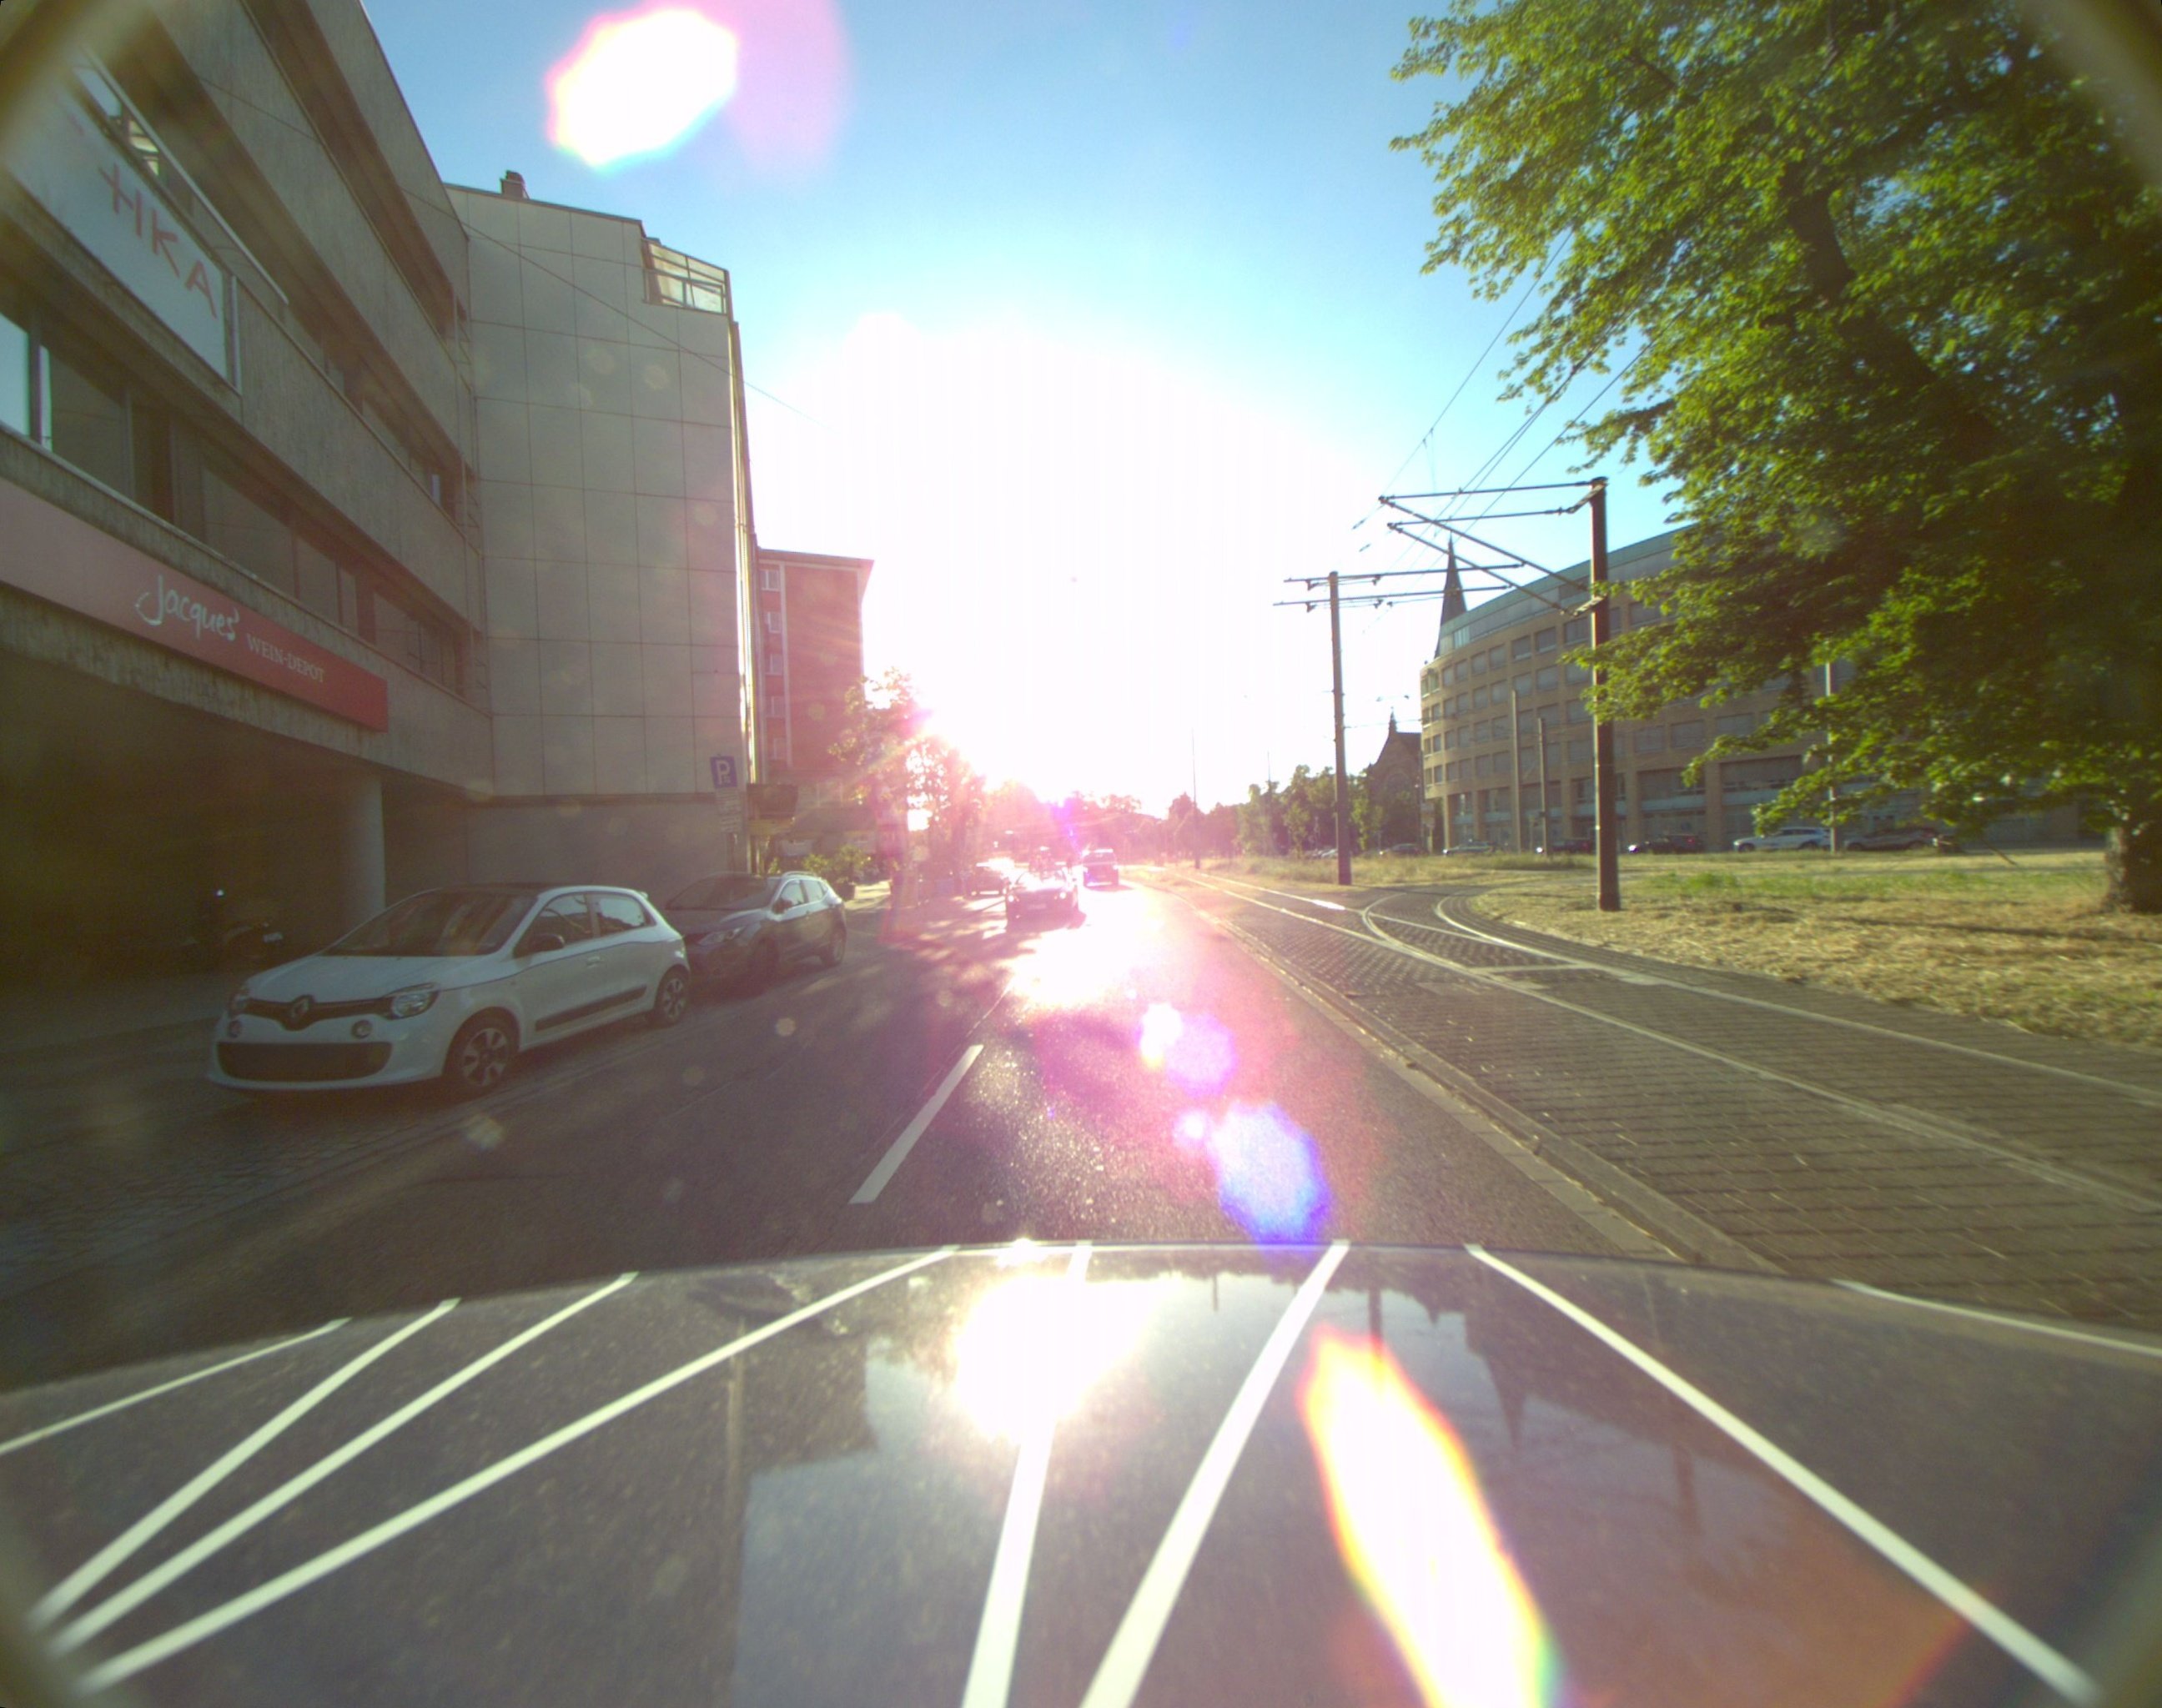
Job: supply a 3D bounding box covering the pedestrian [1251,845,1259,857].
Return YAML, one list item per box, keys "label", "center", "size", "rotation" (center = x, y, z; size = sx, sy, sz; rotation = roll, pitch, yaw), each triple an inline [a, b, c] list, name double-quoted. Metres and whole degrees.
- label: "pedestrian"
  center: [25.582, -0.474, 111.813]
  size: [0.738, 1.663, 0.716]
  rotation: [-3, 0, -19]

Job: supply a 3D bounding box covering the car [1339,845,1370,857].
- label: "car"
  center: [40.175, -0.463, 111.694]
  size: [4.004, 1.575, 1.822]
  rotation: [-2, 0, -22]

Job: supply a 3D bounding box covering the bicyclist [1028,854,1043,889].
- label: "bicyclist"
  center: [-2.400, 0.913, 40.084]
  size: [0.676, 1.797, 0.993]
  rotation: [-3, 1, -7]

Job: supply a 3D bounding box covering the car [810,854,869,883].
- label: "car"
  center: [-23.298, 1.396, 73.269]
  size: [5.271, 2.468, 1.922]
  rotation: [-3, 0, -21]

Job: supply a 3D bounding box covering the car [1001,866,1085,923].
- label: "car"
  center: [-0.962, 1.079, 21.659]
  size: [1.775, 1.300, 4.242]
  rotation: [-3, 0, 5]

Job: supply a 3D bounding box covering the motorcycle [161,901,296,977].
- label: "motorcycle"
  center: [-14.644, 1.455, 13.053]
  size: [2.016, 1.197, 0.530]
  rotation: [-3, 1, 11]

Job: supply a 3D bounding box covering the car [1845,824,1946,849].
- label: "car"
  center: [47.651, -0.994, 44.545]
  size: [1.572, 1.251, 3.722]
  rotation: [-3, 0, -23]

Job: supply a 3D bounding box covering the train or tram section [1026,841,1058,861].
- label: "train or tram section"
  center: [-7.715, -0.564, 148.934]
  size: [2.785, 3.515, 10.552]
  rotation: [-3, 0, -22]

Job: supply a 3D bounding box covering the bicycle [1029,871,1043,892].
- label: "bicycle"
  center: [-2.380, 1.439, 40.078]
  size: [0.577, 1.022, 1.856]
  rotation: [-3, 0, -6]

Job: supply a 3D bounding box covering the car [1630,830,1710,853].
- label: "car"
  center: [38.107, -0.795, 49.238]
  size: [1.653, 1.274, 3.733]
  rotation: [-3, 0, -24]

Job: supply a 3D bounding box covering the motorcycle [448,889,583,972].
- label: "motorcycle"
  center: [-9.759, 1.307, 13.166]
  size: [1.788, 1.323, 0.583]
  rotation: [-1, 0, -10]

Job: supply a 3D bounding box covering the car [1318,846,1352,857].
- label: "car"
  center: [34.521, -0.345, 103.320]
  size: [4.003, 1.412, 1.900]
  rotation: [-2, 0, -18]

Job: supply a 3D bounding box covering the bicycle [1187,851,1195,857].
- label: "bicycle"
  center: [18.974, 0.009, 131.041]
  size: [0.460, 1.020, 1.927]
  rotation: [-4, 0, -21]

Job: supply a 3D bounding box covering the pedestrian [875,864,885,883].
- label: "pedestrian"
  center: [-17.904, 1.697, 67.632]
  size: [0.730, 1.652, 0.904]
  rotation: [-3, 0, -20]

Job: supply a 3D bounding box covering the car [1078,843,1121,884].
- label: "car"
  center: [0.940, 0.486, 41.055]
  size: [1.920, 1.978, 4.946]
  rotation: [-3, 0, -2]

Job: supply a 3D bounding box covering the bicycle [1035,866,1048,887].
- label: "bicycle"
  center: [-2.439, 1.390, 47.248]
  size: [0.530, 1.152, 1.847]
  rotation: [-4, 2, -9]

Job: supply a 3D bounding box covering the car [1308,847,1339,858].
- label: "car"
  center: [35.106, -0.182, 110.022]
  size: [4.004, 1.412, 1.899]
  rotation: [-2, 0, -21]

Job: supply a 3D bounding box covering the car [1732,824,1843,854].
- label: "car"
  center: [40.617, -0.845, 43.787]
  size: [1.778, 1.473, 4.300]
  rotation: [-3, 0, -27]

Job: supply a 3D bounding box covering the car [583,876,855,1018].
- label: "car"
  center: [-4.940, 1.166, 11.157]
  size: [1.786, 1.547, 4.235]
  rotation: [0, 0, 3]

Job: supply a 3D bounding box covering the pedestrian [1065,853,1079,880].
- label: "pedestrian"
  center: [-0.581, 0.792, 48.102]
  size: [0.679, 1.639, 0.901]
  rotation: [-4, 1, -9]

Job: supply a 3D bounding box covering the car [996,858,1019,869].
- label: "car"
  center: [-10.855, 1.427, 111.756]
  size: [1.845, 1.393, 4.575]
  rotation: [-5, 1, -24]

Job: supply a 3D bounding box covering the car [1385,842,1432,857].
- label: "car"
  center: [29.981, -0.402, 69.603]
  size: [1.732, 1.275, 3.782]
  rotation: [-3, 0, -21]

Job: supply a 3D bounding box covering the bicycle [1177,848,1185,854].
- label: "bicycle"
  center: [18.626, -0.523, 140.974]
  size: [0.526, 1.020, 1.927]
  rotation: [-6, 1, -22]

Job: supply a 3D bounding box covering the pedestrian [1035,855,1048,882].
- label: "pedestrian"
  center: [-2.478, 0.911, 47.288]
  size: [0.640, 1.639, 0.842]
  rotation: [-4, 1, -8]

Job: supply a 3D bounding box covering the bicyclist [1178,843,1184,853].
- label: "bicyclist"
  center: [18.601, -1.061, 140.867]
  size: [0.575, 1.816, 0.893]
  rotation: [-4, 1, -22]

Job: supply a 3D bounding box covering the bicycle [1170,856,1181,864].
- label: "bicycle"
  center: [15.005, 0.918, 121.135]
  size: [0.460, 1.139, 1.914]
  rotation: [-4, 1, -40]

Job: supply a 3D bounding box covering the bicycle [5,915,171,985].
- label: "bicycle"
  center: [-16.942, 1.626, 12.995]
  size: [1.870, 1.068, 0.483]
  rotation: [-1, 0, -11]

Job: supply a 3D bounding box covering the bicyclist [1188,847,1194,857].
- label: "bicyclist"
  center: [18.944, -0.412, 131.053]
  size: [0.575, 1.671, 0.893]
  rotation: [-4, 1, -22]

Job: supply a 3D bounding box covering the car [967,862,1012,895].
- label: "car"
  center: [-4.360, 1.123, 36.743]
  size: [1.732, 1.463, 3.899]
  rotation: [0, 0, 0]

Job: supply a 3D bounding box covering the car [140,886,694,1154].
- label: "car"
  center: [-5.165, 1.138, 6.659]
  size: [1.611, 1.547, 3.610]
  rotation: [0, 0, 1]

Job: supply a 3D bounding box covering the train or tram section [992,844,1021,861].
- label: "train or tram section"
  center: [-17.065, -0.368, 172.213]
  size: [2.785, 3.515, 13.228]
  rotation: [-3, 0, -22]

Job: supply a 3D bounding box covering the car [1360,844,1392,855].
- label: "car"
  center: [42.320, -0.654, 109.026]
  size: [4.004, 1.412, 1.899]
  rotation: [-2, 0, -21]

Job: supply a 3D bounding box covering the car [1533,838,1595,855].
- label: "car"
  center: [35.296, -0.532, 55.644]
  size: [1.526, 1.147, 3.592]
  rotation: [-3, 0, -23]

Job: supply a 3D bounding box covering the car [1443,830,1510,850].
- label: "car"
  center: [32.556, -1.121, 62.703]
  size: [1.897, 1.471, 4.773]
  rotation: [-2, 0, -22]

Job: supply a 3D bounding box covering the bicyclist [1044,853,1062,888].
- label: "bicyclist"
  center: [-1.482, 0.854, 40.099]
  size: [0.829, 1.797, 1.057]
  rotation: [-3, 1, -7]

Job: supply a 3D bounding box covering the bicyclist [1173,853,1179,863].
- label: "bicyclist"
  center: [15.128, 0.632, 120.979]
  size: [0.522, 1.574, 0.819]
  rotation: [-4, 1, -39]

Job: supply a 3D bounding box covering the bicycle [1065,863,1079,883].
- label: "bicycle"
  center: [-0.568, 1.208, 48.099]
  size: [0.530, 1.152, 1.847]
  rotation: [-4, 2, -9]
